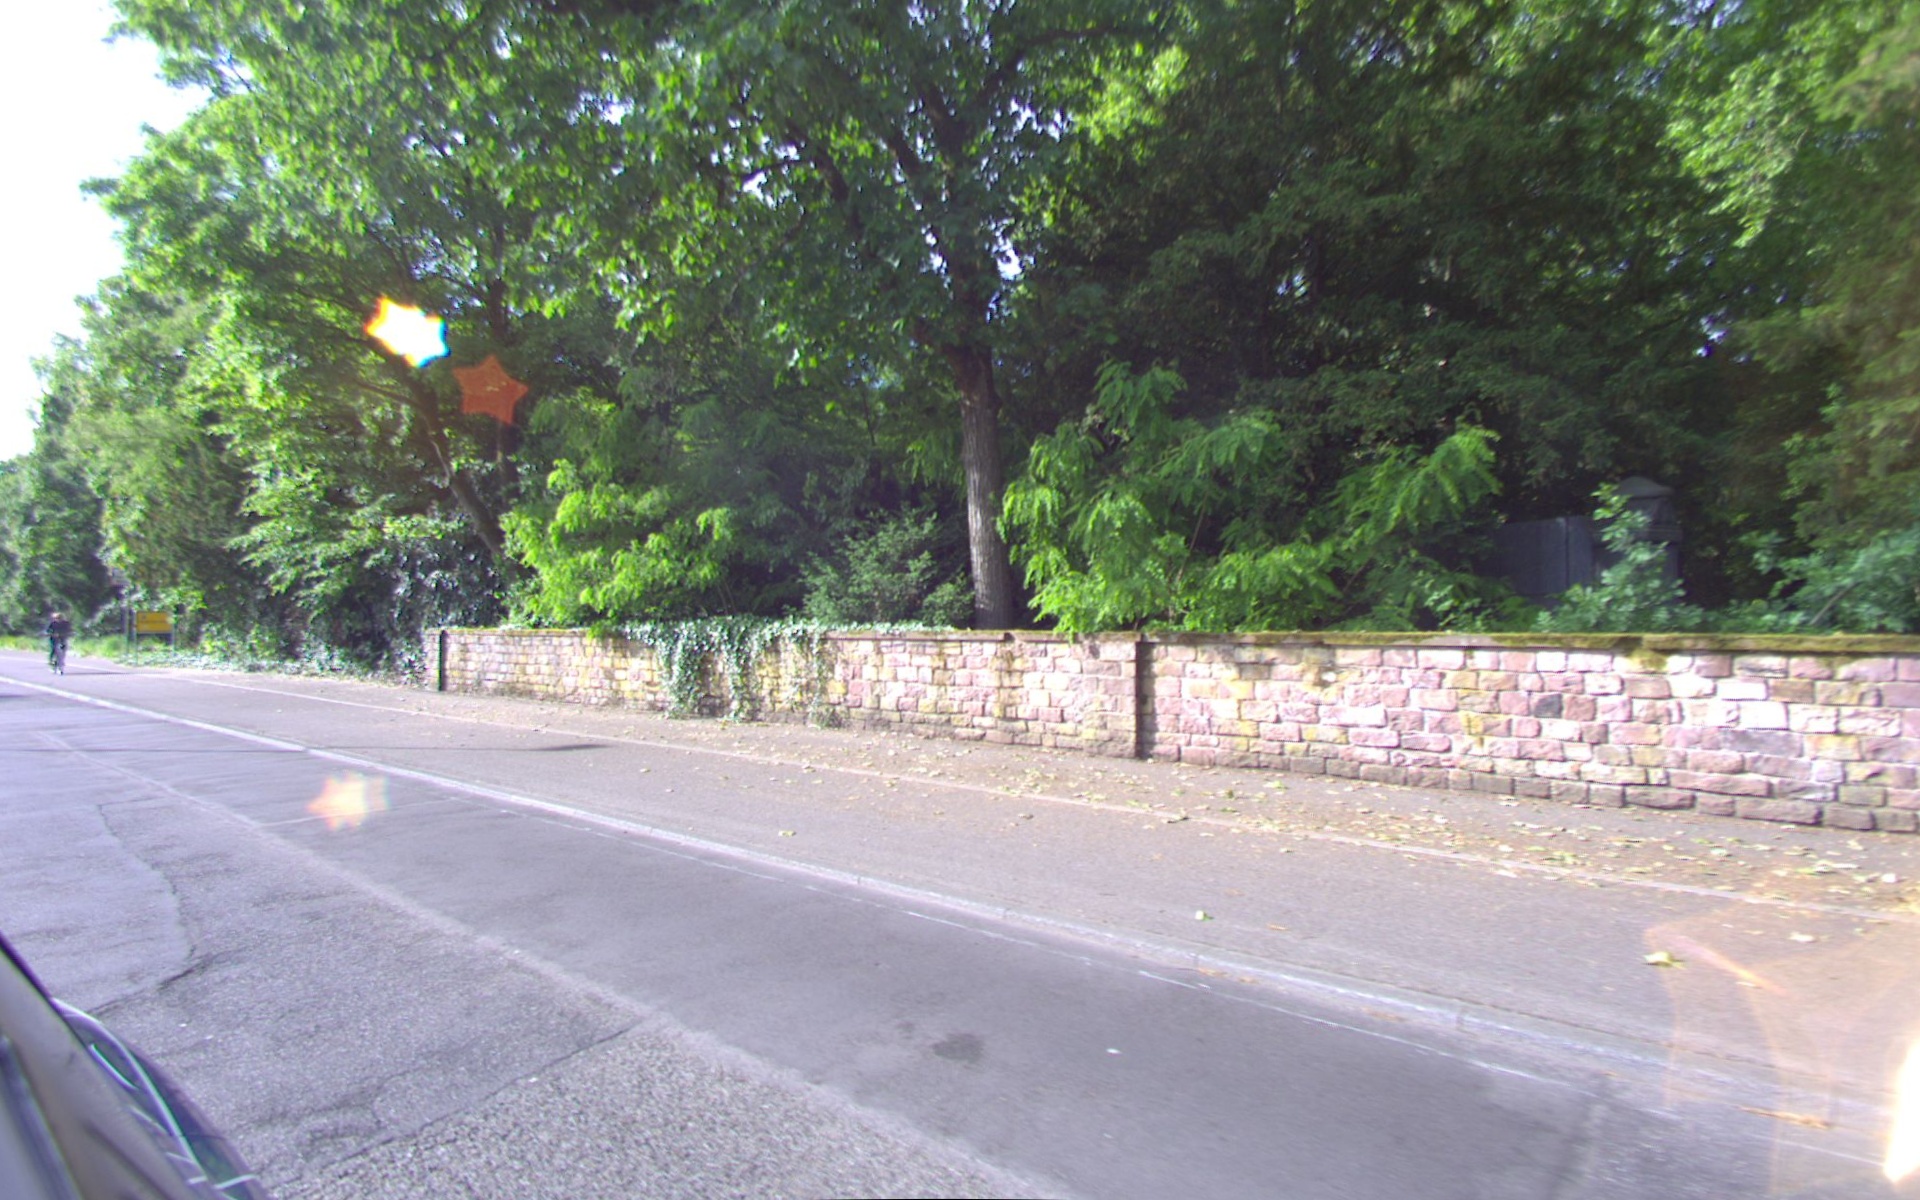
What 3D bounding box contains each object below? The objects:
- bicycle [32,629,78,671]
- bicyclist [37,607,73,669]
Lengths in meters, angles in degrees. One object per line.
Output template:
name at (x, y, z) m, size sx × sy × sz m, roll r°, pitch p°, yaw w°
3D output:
bicycle at (-25.105, 1.359, 28.066) m, size 2.347 × 1.105 × 0.655 m, roll -1°, pitch -1°, yaw 41°
bicyclist at (-25.111, 1.054, 28.078) m, size 0.883 × 1.689 × 0.602 m, roll -2°, pitch -1°, yaw 40°
